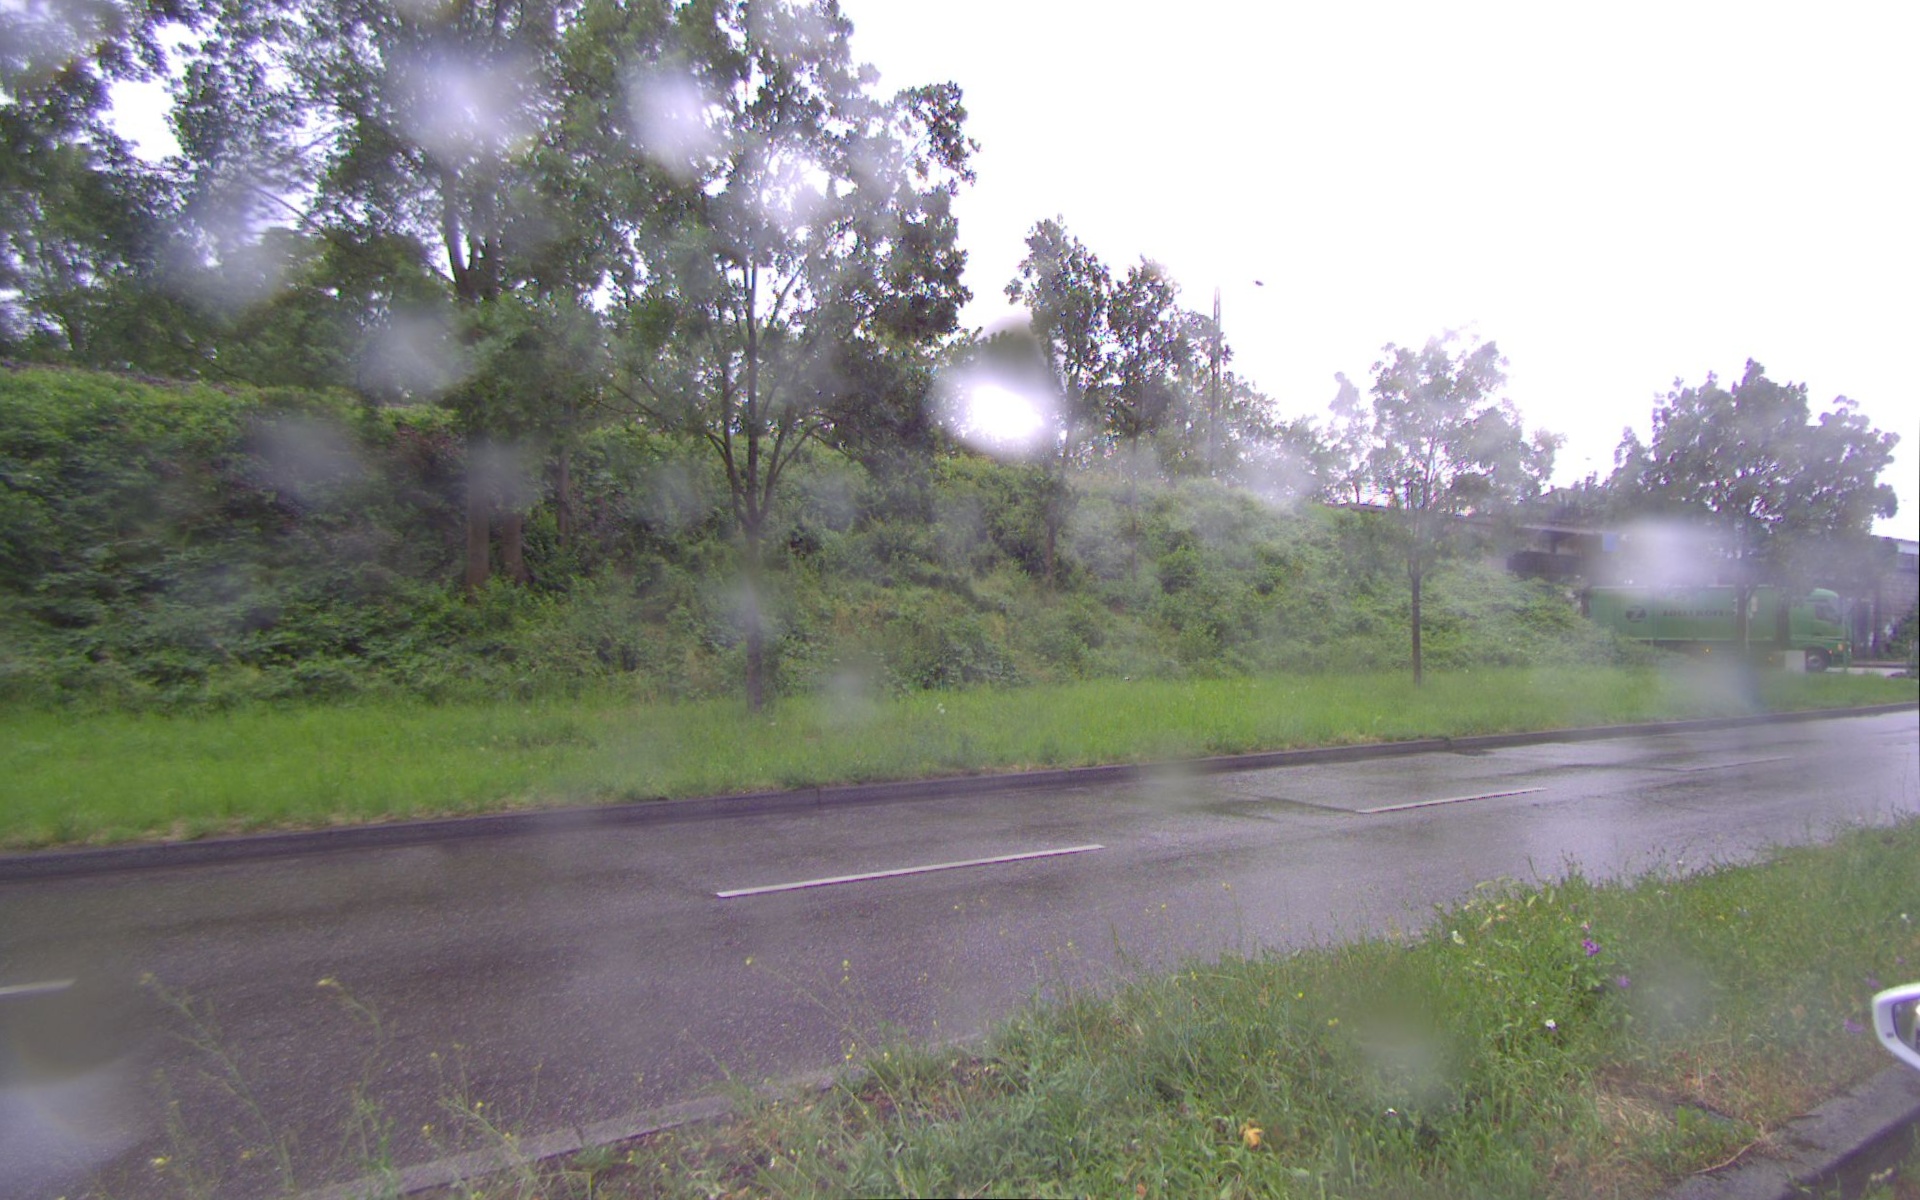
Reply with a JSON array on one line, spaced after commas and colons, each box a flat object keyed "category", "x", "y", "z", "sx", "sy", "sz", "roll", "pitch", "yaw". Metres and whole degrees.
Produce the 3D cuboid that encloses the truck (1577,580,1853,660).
[{"category": "truck", "x": 34.345, "y": 0.869, "z": 46.276, "sx": 9.872, "sy": 3.416, "sz": 2.346, "roll": 0, "pitch": -1, "yaw": 25}]
